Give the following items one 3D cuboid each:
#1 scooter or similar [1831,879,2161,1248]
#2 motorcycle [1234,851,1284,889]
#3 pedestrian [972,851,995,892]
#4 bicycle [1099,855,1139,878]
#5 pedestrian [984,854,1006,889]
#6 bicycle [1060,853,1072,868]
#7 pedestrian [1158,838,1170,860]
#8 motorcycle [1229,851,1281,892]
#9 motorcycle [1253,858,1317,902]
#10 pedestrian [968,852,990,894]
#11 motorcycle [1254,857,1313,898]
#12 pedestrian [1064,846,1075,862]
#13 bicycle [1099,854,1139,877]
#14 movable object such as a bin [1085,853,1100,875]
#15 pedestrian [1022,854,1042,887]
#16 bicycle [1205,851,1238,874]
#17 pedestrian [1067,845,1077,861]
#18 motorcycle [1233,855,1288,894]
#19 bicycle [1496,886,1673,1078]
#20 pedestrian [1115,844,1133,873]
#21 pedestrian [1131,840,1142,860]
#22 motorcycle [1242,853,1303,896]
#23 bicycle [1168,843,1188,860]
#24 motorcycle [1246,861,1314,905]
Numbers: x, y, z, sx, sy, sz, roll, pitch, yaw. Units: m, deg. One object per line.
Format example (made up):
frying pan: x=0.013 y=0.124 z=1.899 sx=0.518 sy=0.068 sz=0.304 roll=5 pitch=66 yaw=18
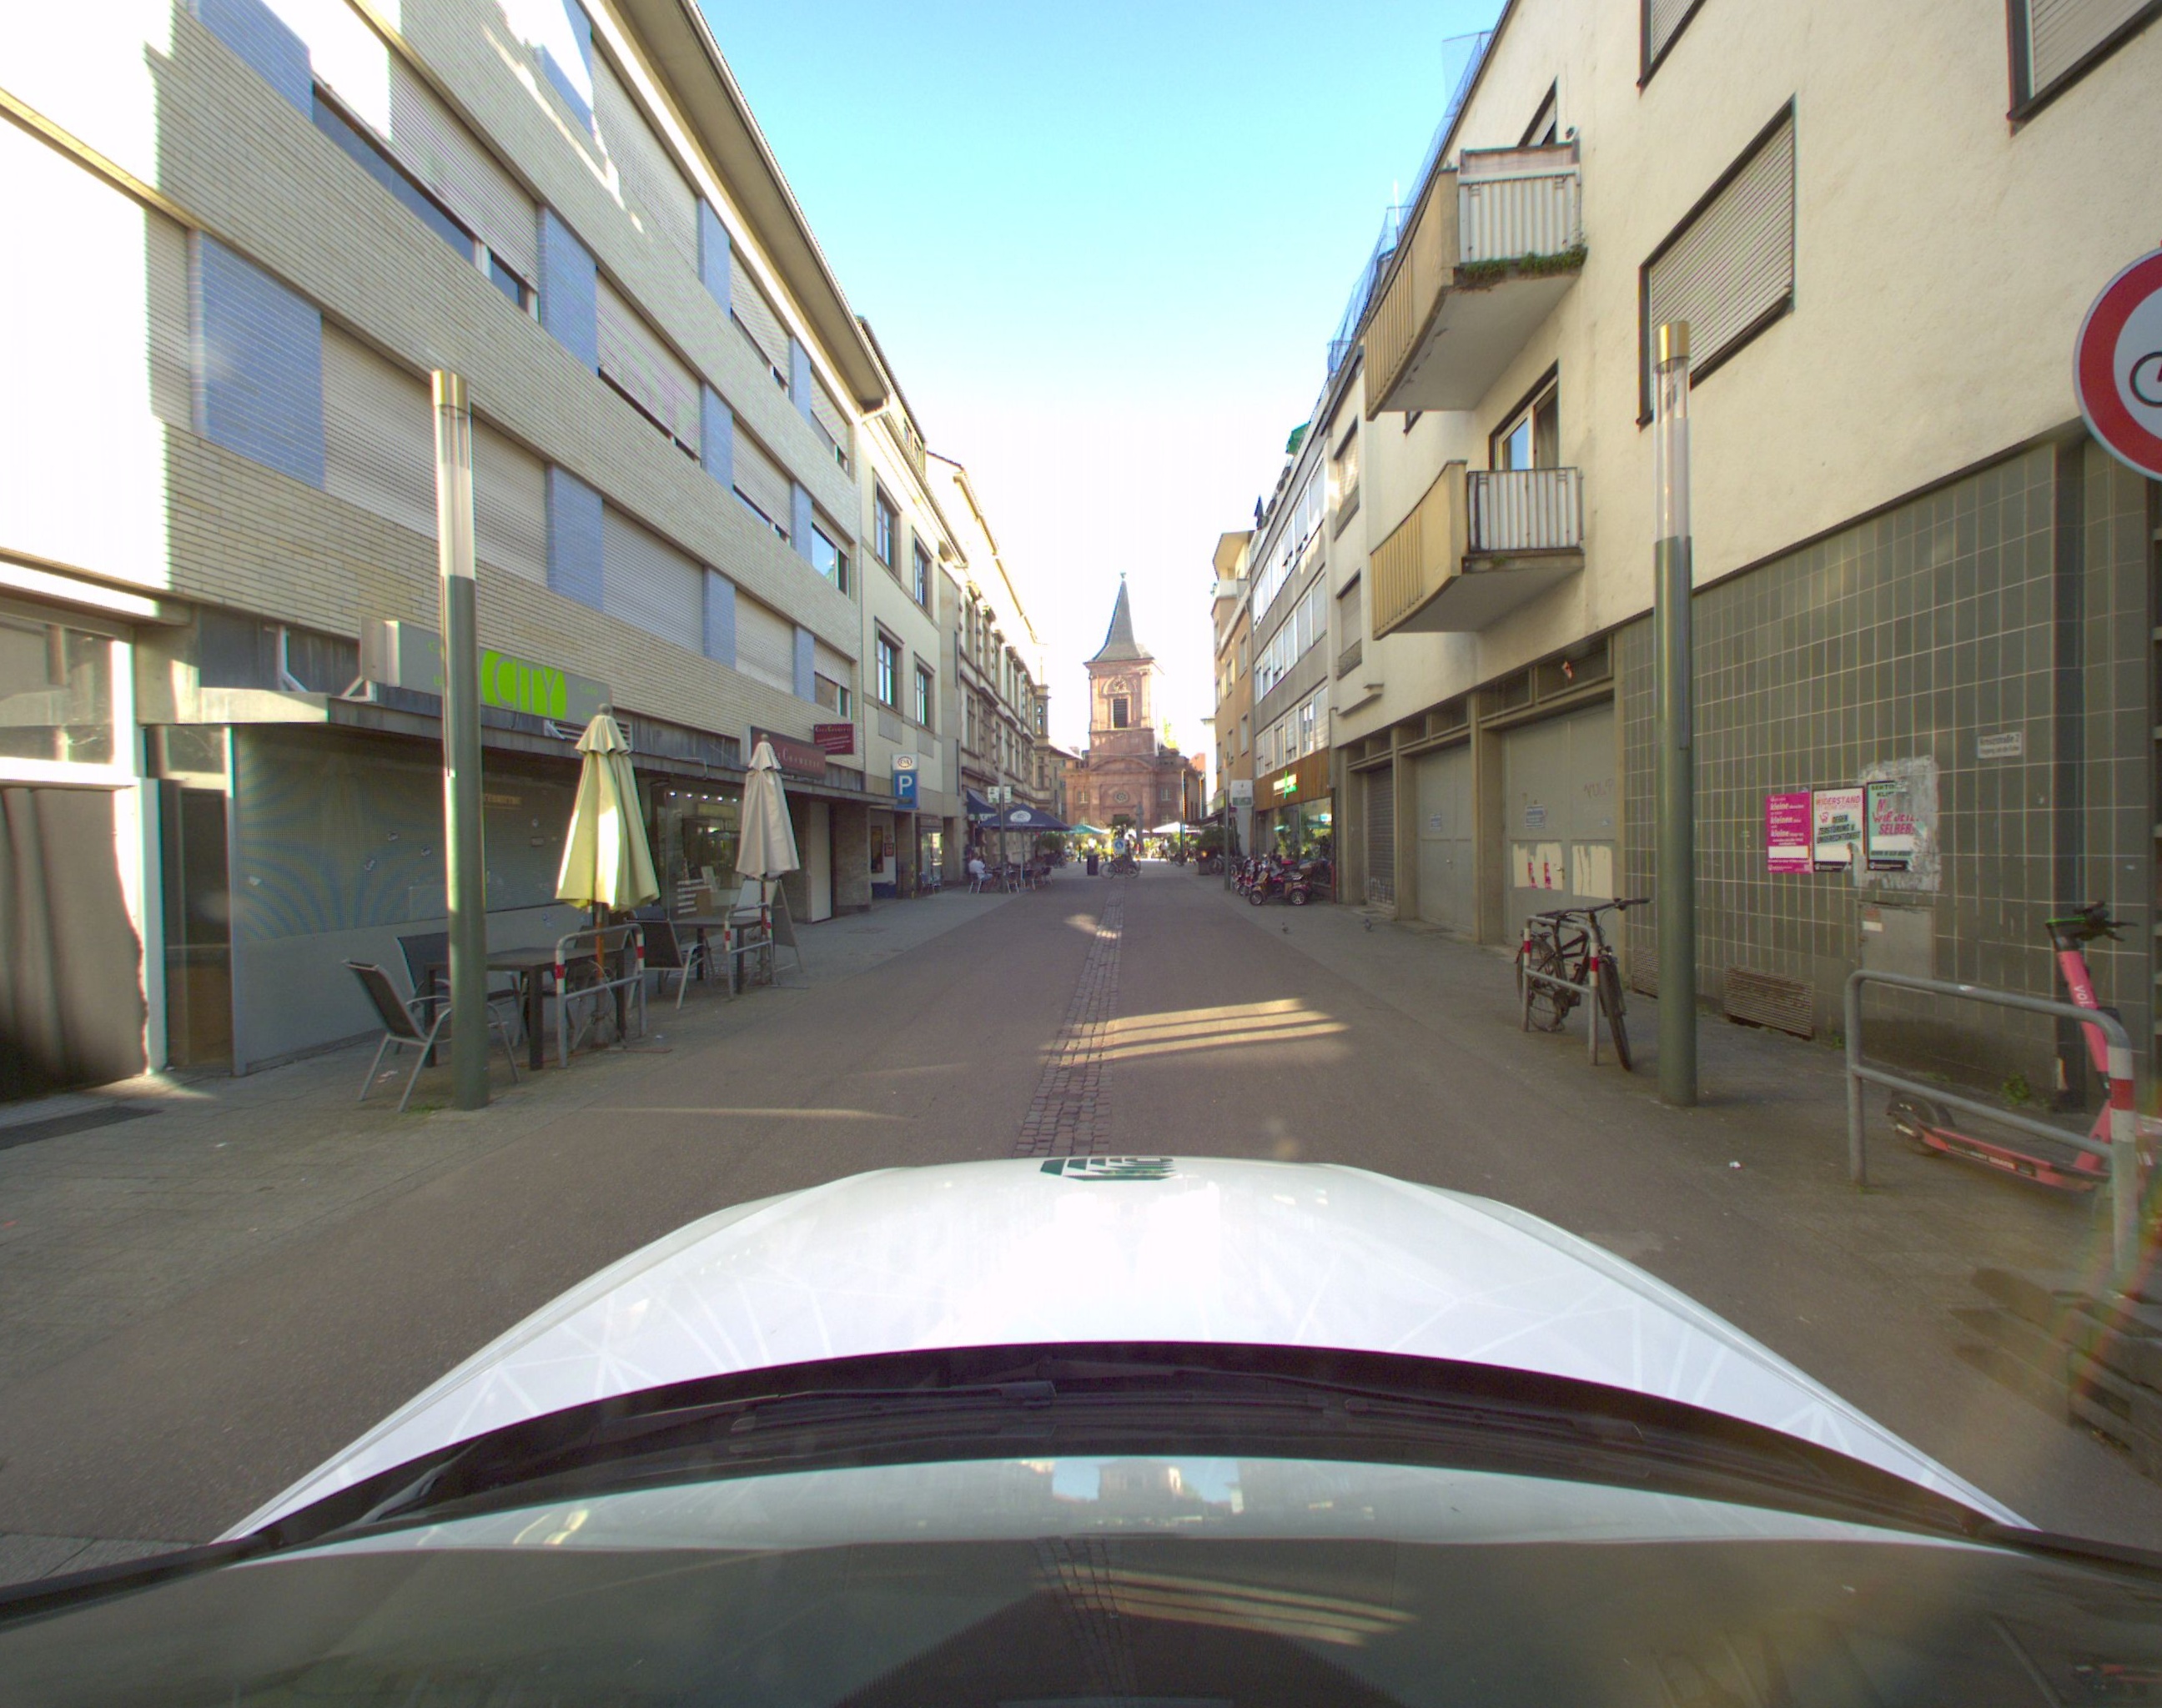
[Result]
scooter or similar: x=3.961 y=0.760 z=3.503 sx=0.306 sy=1.252 sz=1.239 roll=-1 pitch=0 yaw=0
motorcycle: x=5.595 y=0.504 z=25.586 sx=1.472 sy=1.181 sz=0.414 roll=-2 pitch=0 yaw=18
pedestrian: x=-3.345 y=0.579 z=27.888 sx=0.717 sy=1.368 sz=0.708 roll=-1 pitch=1 yaw=-9
bicycle: x=1.725 y=0.556 z=37.061 sx=1.818 sy=1.005 sz=0.381 roll=-1 pitch=0 yaw=-1
pedestrian: x=-3.128 y=0.620 z=29.748 sx=0.763 sy=1.233 sz=0.830 roll=-1 pitch=1 yaw=-5
bicycle: x=-0.917 y=0.362 z=49.635 sx=0.454 sy=0.850 sz=2.150 roll=-1 pitch=1 yaw=7
pedestrian: x=5.931 y=-0.355 z=58.221 sx=0.779 sy=1.555 sz=0.536 roll=-1 pitch=0 yaw=7
motorcycle: x=5.245 y=0.533 z=24.525 sx=1.472 sy=1.181 sz=0.414 roll=-2 pitch=0 yaw=18
motorcycle: x=5.174 y=0.659 z=20.661 sx=1.503 sy=1.075 sz=0.414 roll=-1 pitch=0 yaw=21
pedestrian: x=-3.380 y=0.613 z=26.957 sx=0.708 sy=1.368 sz=0.718 roll=-1 pitch=1 yaw=-9
motorcycle: x=5.390 y=0.626 z=21.689 sx=1.471 sy=1.075 sz=0.414 roll=-1 pitch=0 yaw=21
pedestrian: x=-0.902 y=0.009 z=63.705 sx=0.696 sy=1.218 sz=0.721 roll=-1 pitch=0 yaw=9
bicycle: x=1.741 y=0.513 z=37.449 sx=1.818 sy=1.005 sz=0.381 roll=-1 pitch=0 yaw=-1
movable object such as a bin: x=0.581 y=0.488 z=40.420 sx=0.719 sy=1.074 sz=0.374 roll=-1 pitch=0 yaw=1
pedestrian: x=-1.841 y=0.613 z=30.419 sx=0.691 sy=1.215 sz=0.582 roll=-1 pitch=1 yaw=-5
bicycle: x=6.293 y=0.395 z=36.510 sx=1.454 sy=1.005 sz=0.574 roll=-1 pitch=0 yaw=10
pedestrian: x=-0.716 y=-0.072 z=65.130 sx=0.696 sy=1.218 sz=0.721 roll=-1 pitch=0 yaw=9
motorcycle: x=5.206 y=0.595 z=23.616 sx=1.471 sy=1.075 sz=0.414 roll=-1 pitch=0 yaw=21
bicycle: x=3.584 y=0.836 z=5.954 sx=0.444 sy=1.140 sz=1.714 roll=-1 pitch=-1 yaw=8
pedestrian: x=2.200 y=0.210 z=41.600 sx=0.880 sy=1.464 sz=0.731 roll=-1 pitch=0 yaw=3
pedestrian: x=4.525 y=-0.348 z=66.275 sx=0.614 sy=1.641 sz=0.651 roll=-1 pitch=1 yaw=-30
motorcycle: x=5.380 y=0.572 z=22.890 sx=1.611 sy=1.175 sz=0.483 roll=-1 pitch=0 yaw=21
bicycle: x=7.461 y=-0.177 z=62.724 sx=1.594 sy=1.308 sz=0.362 roll=-1 pitch=1 yaw=-26
motorcycle: x=4.872 y=0.718 z=19.930 sx=1.550 sy=1.041 sz=0.374 roll=-1 pitch=0 yaw=21
